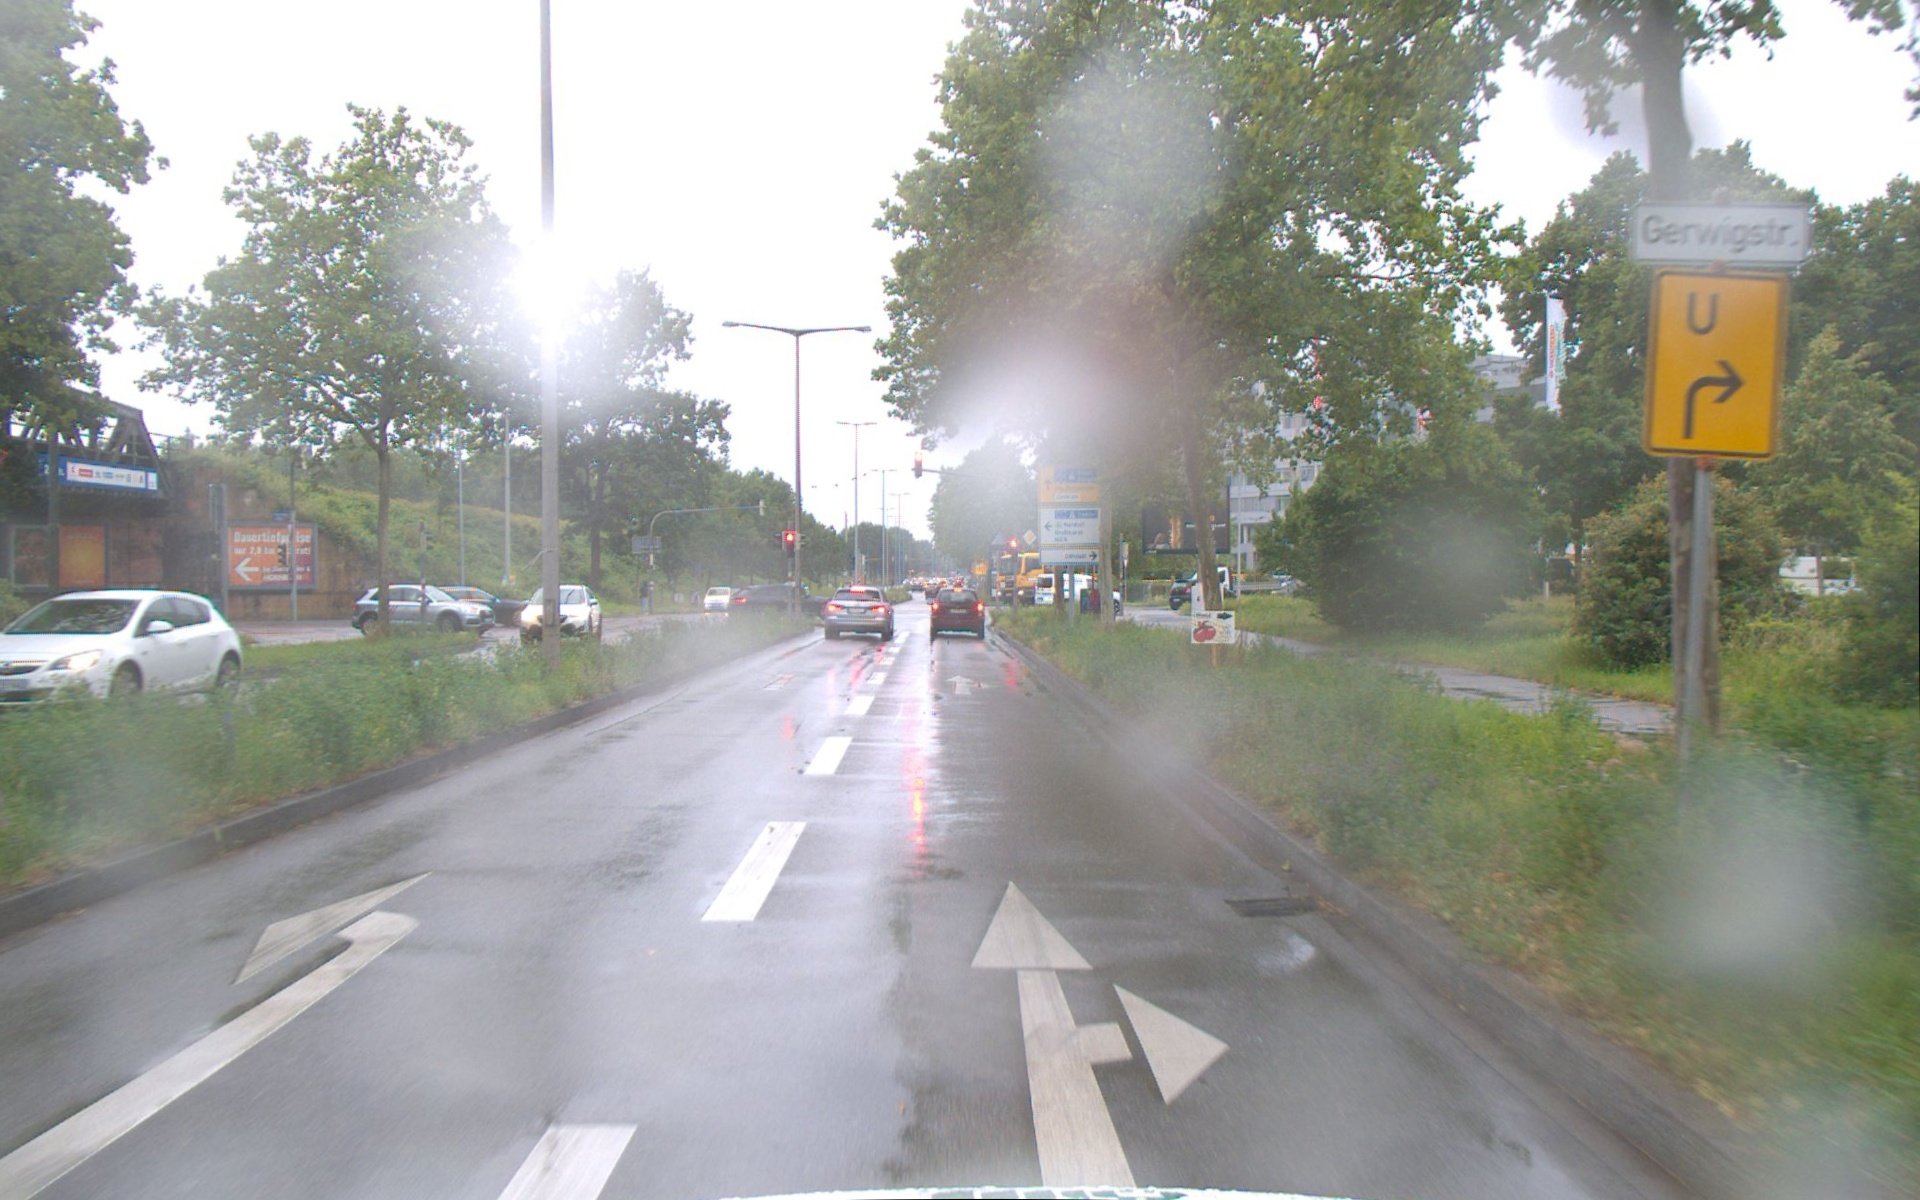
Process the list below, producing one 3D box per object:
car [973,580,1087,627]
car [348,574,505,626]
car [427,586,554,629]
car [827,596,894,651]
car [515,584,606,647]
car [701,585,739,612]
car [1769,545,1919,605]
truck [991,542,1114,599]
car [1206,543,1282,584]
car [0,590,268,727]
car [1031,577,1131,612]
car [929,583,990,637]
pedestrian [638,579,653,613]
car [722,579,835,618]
[{"bbox_3d":[2.704,0.113,63.644,4.348,1.563,1.776,-3,3,-41],"label":"car"},{"bbox_3d":[-17.108,-0.001,53.136,4.409,1.617,1.864,0,0,4],"label":"car"},{"bbox_3d":[-17.696,0.272,62.365,4.326,1.564,1.784,0,0,-30],"label":"car"},{"bbox_3d":[-2.787,0.641,47.171,1.655,1.458,4.574,1,0,0],"label":"car"},{"bbox_3d":[-10.738,0.388,44.722,1.821,1.617,4.512,0,0,-7],"label":"car"},{"bbox_3d":[-14.172,-0.101,97.881,1.677,1.557,4.000,0,0,-1],"label":"car"},{"bbox_3d":[33.375,-0.920,62.408,1.790,2.191,4.844,0,0,-41],"label":"car"},{"bbox_3d":[5.284,-1.660,93.468,6.976,3.107,2.611,0,0,-38],"label":"truck"},{"bbox_3d":[16.676,-2.157,97.022,4.338,2.228,1.780,-3,2,-35],"label":"car"},{"bbox_3d":[-10.424,0.624,20.374,1.891,1.470,4.656,1,0,-1],"label":"car"},{"bbox_3d":[5.568,-0.260,75.935,4.326,1.564,1.784,0,0,-30],"label":"car"},{"bbox_3d":[-0.036,0.295,51.215,1.759,1.564,4.387,2,0,-1],"label":"car"},{"bbox_3d":[-16.859,-0.192,88.698,0.522,1.817,0.673,1,-1,17],"label":"pedestrian"},{"bbox_3d":[-7.500,-0.066,68.321,4.326,1.564,1.784,0,0,-30],"label":"car"}]
